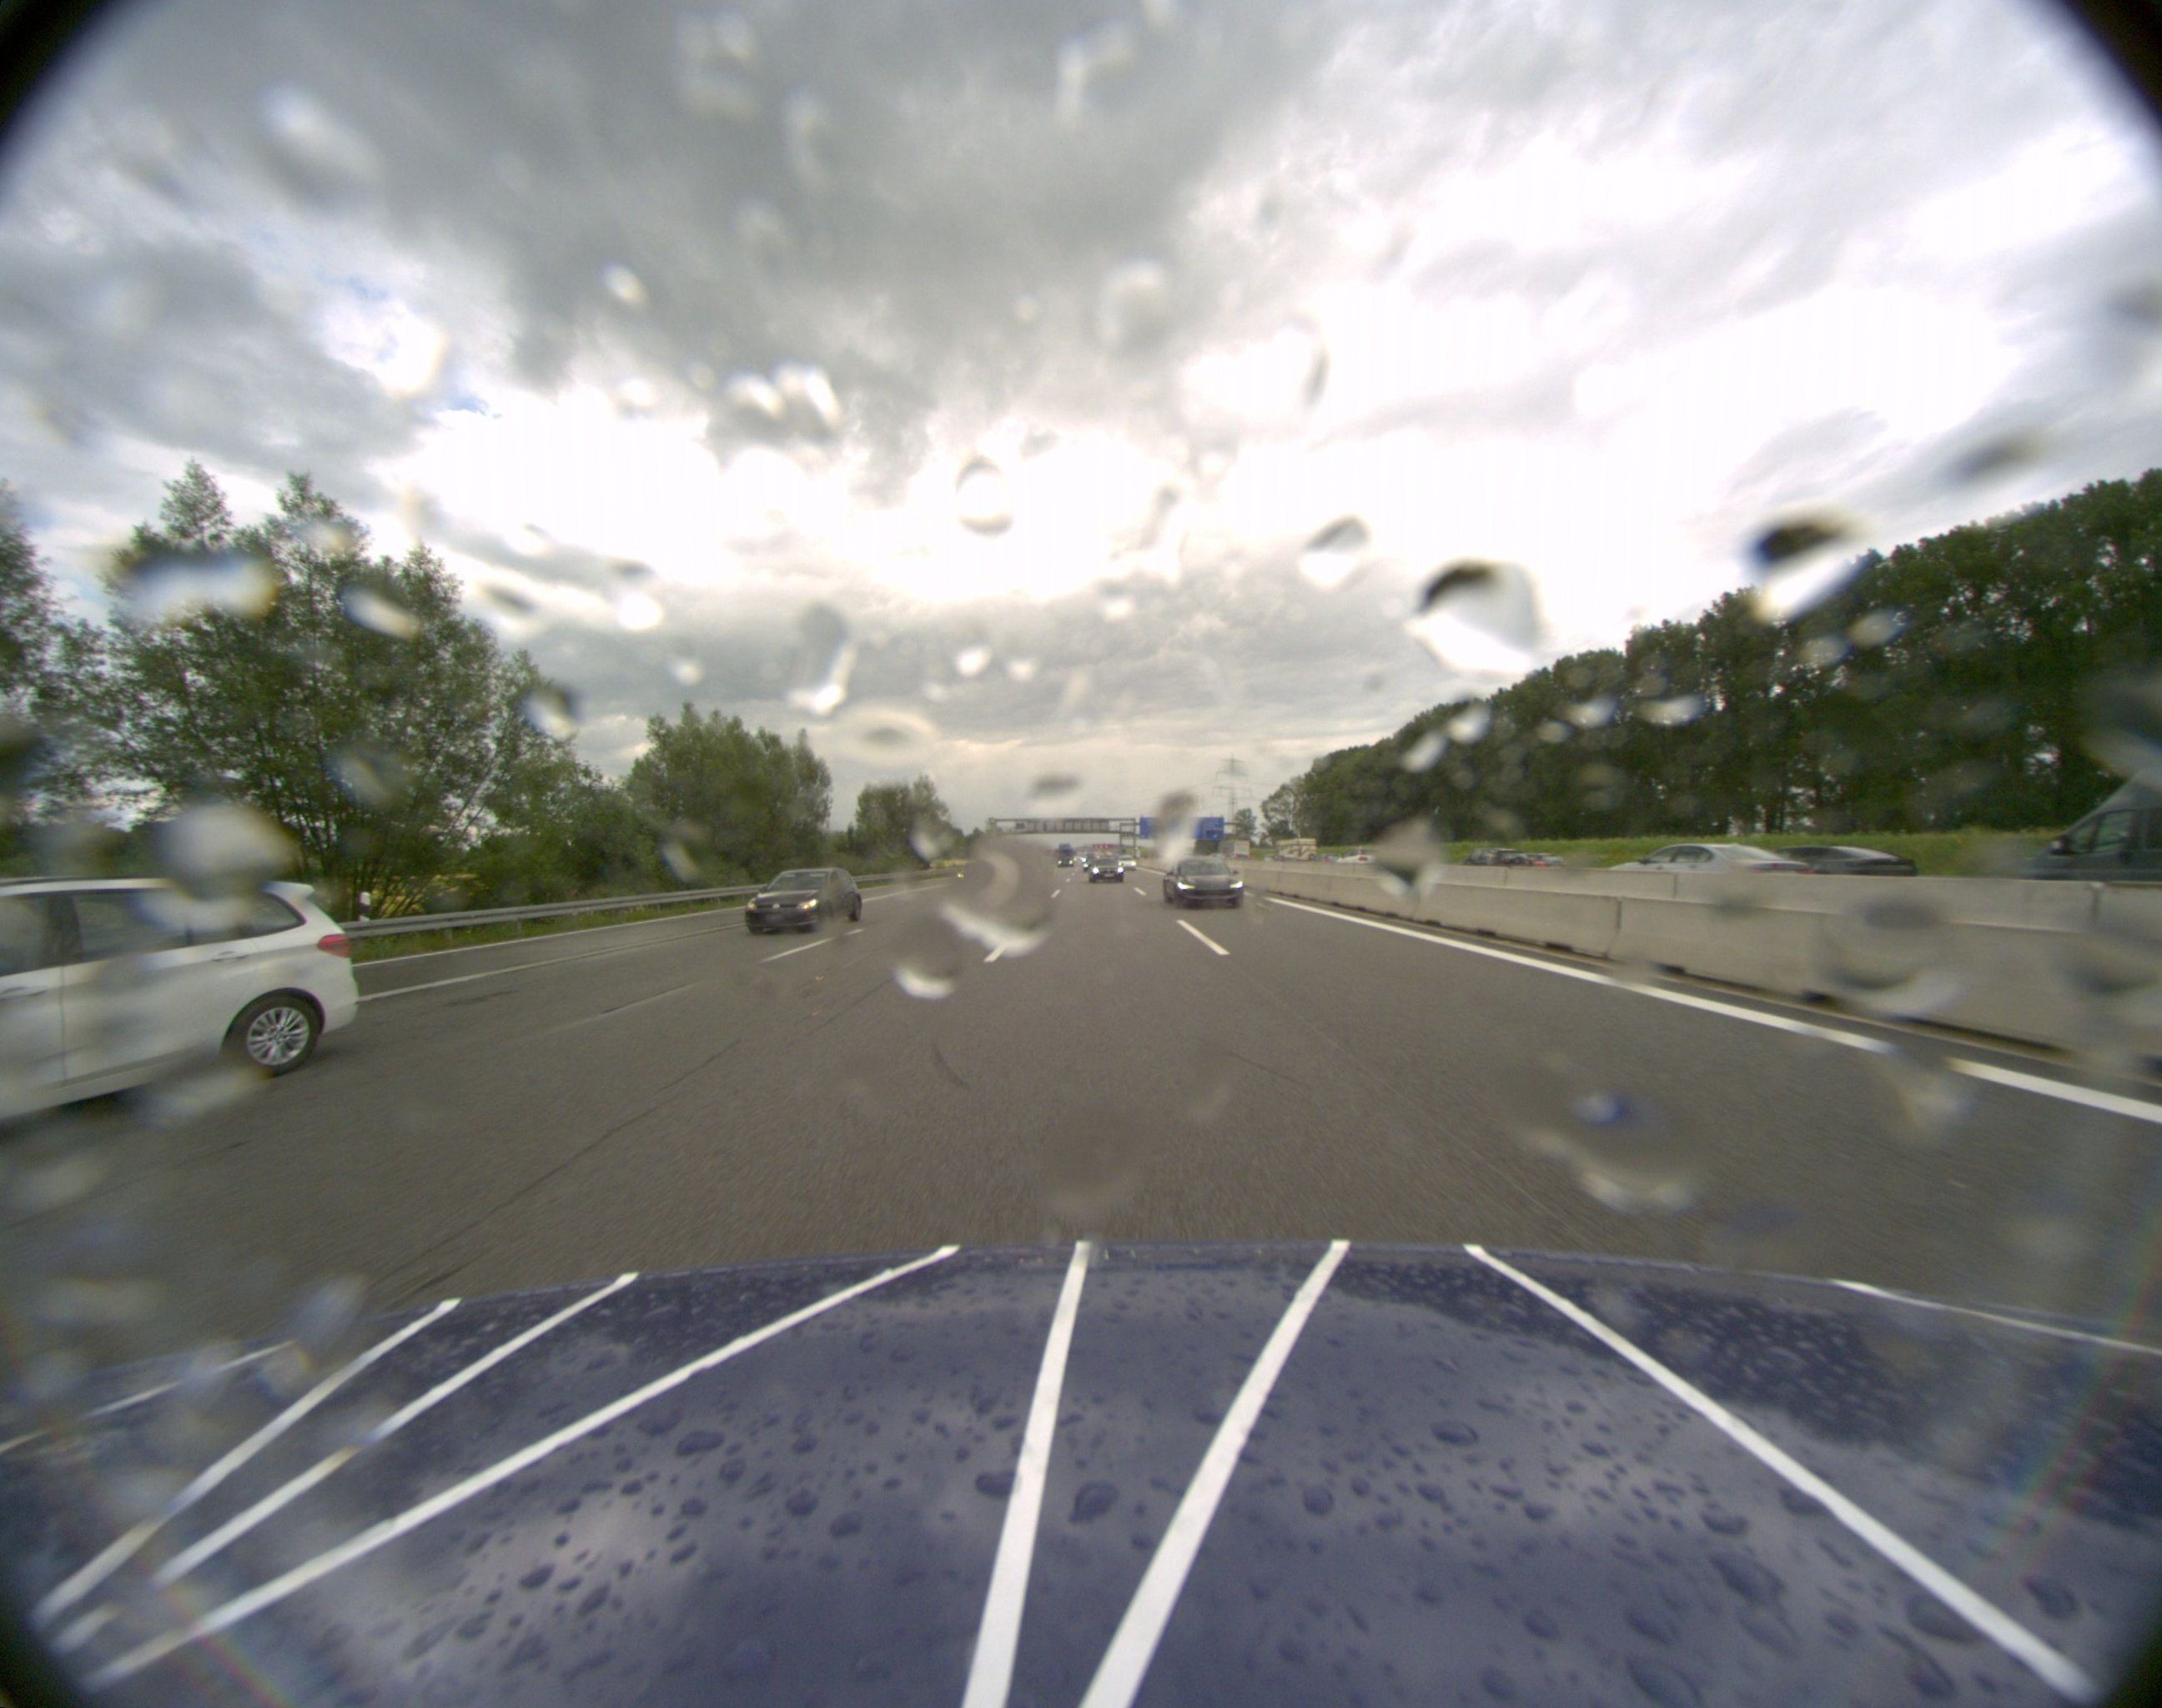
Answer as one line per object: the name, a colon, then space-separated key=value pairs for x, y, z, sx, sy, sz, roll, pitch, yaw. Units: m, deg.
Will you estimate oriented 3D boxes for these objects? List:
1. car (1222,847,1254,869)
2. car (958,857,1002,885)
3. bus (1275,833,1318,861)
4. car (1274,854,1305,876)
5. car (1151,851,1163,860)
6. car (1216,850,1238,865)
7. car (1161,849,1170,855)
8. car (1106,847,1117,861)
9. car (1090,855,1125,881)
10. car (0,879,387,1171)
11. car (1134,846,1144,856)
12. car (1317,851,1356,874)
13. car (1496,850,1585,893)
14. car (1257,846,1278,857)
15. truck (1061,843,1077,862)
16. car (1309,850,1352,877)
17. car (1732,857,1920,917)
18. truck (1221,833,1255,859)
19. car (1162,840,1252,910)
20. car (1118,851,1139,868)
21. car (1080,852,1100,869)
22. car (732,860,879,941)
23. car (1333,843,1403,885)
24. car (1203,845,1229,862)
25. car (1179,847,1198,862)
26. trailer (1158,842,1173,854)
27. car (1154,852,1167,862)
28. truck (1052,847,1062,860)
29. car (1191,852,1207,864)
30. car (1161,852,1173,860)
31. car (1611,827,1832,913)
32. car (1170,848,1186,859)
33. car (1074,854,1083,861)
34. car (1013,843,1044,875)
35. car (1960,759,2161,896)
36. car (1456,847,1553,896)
car: x=15.374 y=0.390 z=74.462 sx=1.999 sy=2.002 sz=5.181 roll=-2 pitch=0 yaw=0
car: x=-5.835 y=0.951 z=44.365 sx=1.944 sy=1.482 sz=4.775 roll=-2 pitch=0 yaw=-1
bus: x=26.949 y=-0.872 z=95.533 sx=2.838 sy=3.313 sz=9.963 roll=-2 pitch=0 yaw=1
car: x=19.805 y=0.986 z=72.456 sx=1.809 sy=2.002 sz=3.999 roll=-2 pitch=0 yaw=0
car: x=16.811 y=0.401 z=167.971 sx=1.999 sy=1.874 sz=5.185 roll=-2 pitch=0 yaw=-1
car: x=18.704 y=0.428 z=97.630 sx=1.998 sy=1.818 sz=4.638 roll=-2 pitch=0 yaw=0
car: x=20.817 y=-0.482 z=187.054 sx=1.890 sy=1.610 sz=4.000 roll=-2 pitch=0 yaw=0
car: x=5.936 y=-0.024 z=147.330 sx=2.144 sy=2.486 sz=5.449 roll=-2 pitch=0 yaw=3
car: x=1.564 y=0.772 z=44.452 sx=1.922 sy=1.407 sz=4.001 roll=-1 pitch=0 yaw=2
car: x=-7.141 y=1.056 z=4.425 sx=1.815 sy=1.589 sz=4.695 roll=-2 pitch=0 yaw=0
car: x=16.122 y=-0.744 z=210.777 sx=1.999 sy=2.600 sz=6.342 roll=-2 pitch=0 yaw=-1
car: x=23.503 y=0.725 z=70.094 sx=1.999 sy=2.002 sz=4.808 roll=-2 pitch=0 yaw=0
car: x=23.301 y=0.844 z=38.715 sx=1.998 sy=2.002 sz=4.227 roll=-2 pitch=0 yaw=1
car: x=28.193 y=-0.355 z=115.022 sx=1.999 sy=1.608 sz=4.400 roll=-2 pitch=0 yaw=-1
truck: x=-1.826 y=-0.246 z=115.493 sx=2.391 sy=2.726 sz=6.592 roll=-2 pitch=0 yaw=-1
car: x=19.861 y=0.700 z=60.698 sx=1.854 sy=2.002 sz=4.536 roll=-2 pitch=0 yaw=0
car: x=21.593 y=0.887 z=22.270 sx=1.620 sy=1.513 sz=4.000 roll=-2 pitch=0 yaw=1
truck: x=27.731 y=-1.423 z=134.958 sx=3.156 sy=4.288 sz=13.950 roll=-2 pitch=0 yaw=0
car: x=3.609 y=0.542 z=22.743 sx=1.998 sy=1.810 sz=5.163 roll=-2 pitch=0 yaw=2
car: x=4.684 y=0.541 z=75.333 sx=1.822 sy=1.565 sz=4.000 roll=-2 pitch=0 yaw=0
car: x=0.891 y=0.626 z=74.864 sx=1.711 sy=1.562 sz=4.347 roll=-2 pitch=0 yaw=3
car: x=-6.518 y=1.022 z=18.546 sx=1.711 sy=1.621 sz=4.457 roll=-2 pitch=0 yaw=3
car: x=14.623 y=0.485 z=38.990 sx=1.998 sy=2.002 sz=4.264 roll=-2 pitch=0 yaw=1
car: x=15.571 y=-0.063 z=87.923 sx=1.999 sy=1.844 sz=4.635 roll=-2 pitch=0 yaw=-1
car: x=15.497 y=0.087 z=109.473 sx=1.998 sy=2.002 sz=4.763 roll=-2 pitch=0 yaw=1
trailer: x=27.609 y=-1.960 z=248.534 sx=3.118 sy=3.487 sz=14.450 roll=-2 pitch=0 yaw=-1
car: x=15.372 y=0.493 z=147.809 sx=1.998 sy=1.886 sz=5.186 roll=-2 pitch=0 yaw=0
truck: x=-5.052 y=-0.092 z=157.965 sx=1.790 sy=2.660 sz=5.768 roll=-2 pitch=0 yaw=1
car: x=20.657 y=0.698 z=133.116 sx=1.998 sy=1.922 sz=4.638 roll=-2 pitch=0 yaw=0
car: x=19.260 y=0.527 z=170.078 sx=1.998 sy=1.694 sz=5.078 roll=-1 pitch=0 yaw=1
car: x=14.545 y=0.316 z=17.598 sx=1.808 sy=1.709 sz=4.000 roll=-2 pitch=0 yaw=2
car: x=16.356 y=-0.045 z=128.428 sx=1.998 sy=1.842 sz=5.078 roll=-1 pitch=0 yaw=1
car: x=-0.647 y=0.827 z=189.958 sx=1.998 sy=1.810 sz=5.162 roll=-2 pitch=0 yaw=1
car: x=-4.347 y=0.363 z=63.475 sx=2.145 sy=2.486 sz=5.447 roll=-2 pitch=0 yaw=0
car: x=18.109 y=-0.449 z=11.308 sx=2.264 sy=2.152 sz=6.817 roll=-2 pitch=0 yaw=2
car: x=18.764 y=0.726 z=33.893 sx=1.998 sy=2.002 sz=4.227 roll=-2 pitch=0 yaw=1
